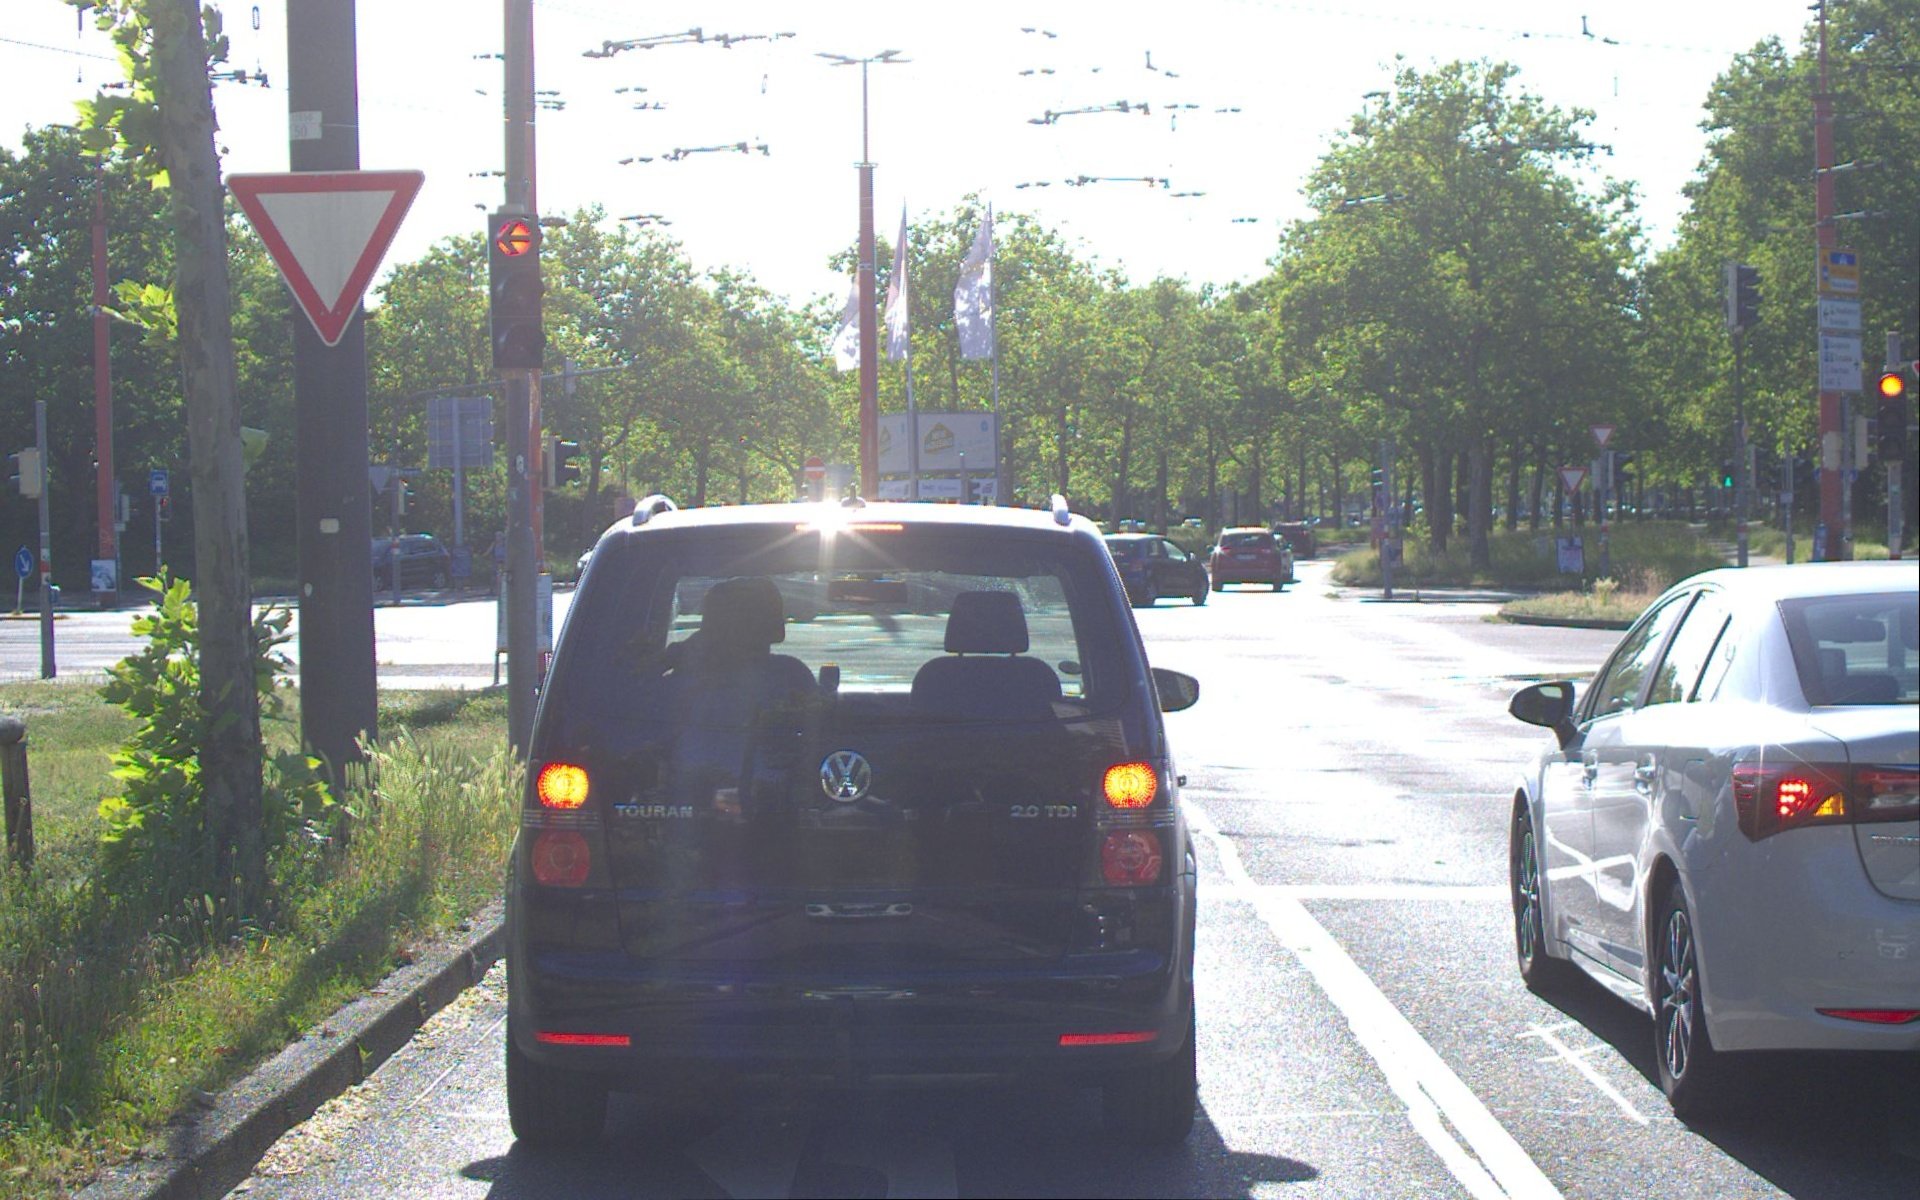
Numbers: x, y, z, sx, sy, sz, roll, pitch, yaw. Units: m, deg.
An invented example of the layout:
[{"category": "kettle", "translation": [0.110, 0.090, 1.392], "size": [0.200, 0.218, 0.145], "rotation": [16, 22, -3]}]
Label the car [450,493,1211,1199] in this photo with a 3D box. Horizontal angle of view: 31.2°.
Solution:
[{"category": "car", "translation": [-0.318, 0.544, 9.895], "size": [1.737, 1.635, 4.000], "rotation": [0, 1, -1]}]

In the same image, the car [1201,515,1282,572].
[{"category": "car", "translation": [7.392, -1.509, 90.623], "size": [1.908, 1.459, 4.374], "rotation": [0, 2, 2]}]

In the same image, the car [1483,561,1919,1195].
[{"category": "car", "translation": [2.685, 0.628, 10.096], "size": [1.715, 1.449, 4.144], "rotation": [0, 1, 1]}]

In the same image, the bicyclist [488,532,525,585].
[{"category": "bicyclist", "translation": [-12.493, -1.154, 94.647], "size": [0.693, 1.452, 0.874], "rotation": [0, 1, 18]}]

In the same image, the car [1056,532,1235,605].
[{"category": "car", "translation": [3.875, -0.662, 71.324], "size": [1.911, 1.459, 4.048], "rotation": [0, 1, 34]}]

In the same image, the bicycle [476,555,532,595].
[{"category": "bicycle", "translation": [-12.524, -0.686, 94.435], "size": [0.735, 1.086, 1.959], "rotation": [0, 1, 18]}]

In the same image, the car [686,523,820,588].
[{"category": "car", "translation": [-5.480, -1.200, 91.746], "size": [1.995, 1.679, 4.825], "rotation": [0, 1, 17]}]

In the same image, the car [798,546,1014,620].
[{"category": "car", "translation": [-1.127, -0.372, 70.871], "size": [4.041, 1.459, 1.915], "rotation": [-1, 1, -19]}]

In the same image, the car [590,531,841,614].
[{"category": "car", "translation": [-4.497, -0.520, 63.137], "size": [4.225, 1.459, 1.915], "rotation": [-1, 1, -20]}]
